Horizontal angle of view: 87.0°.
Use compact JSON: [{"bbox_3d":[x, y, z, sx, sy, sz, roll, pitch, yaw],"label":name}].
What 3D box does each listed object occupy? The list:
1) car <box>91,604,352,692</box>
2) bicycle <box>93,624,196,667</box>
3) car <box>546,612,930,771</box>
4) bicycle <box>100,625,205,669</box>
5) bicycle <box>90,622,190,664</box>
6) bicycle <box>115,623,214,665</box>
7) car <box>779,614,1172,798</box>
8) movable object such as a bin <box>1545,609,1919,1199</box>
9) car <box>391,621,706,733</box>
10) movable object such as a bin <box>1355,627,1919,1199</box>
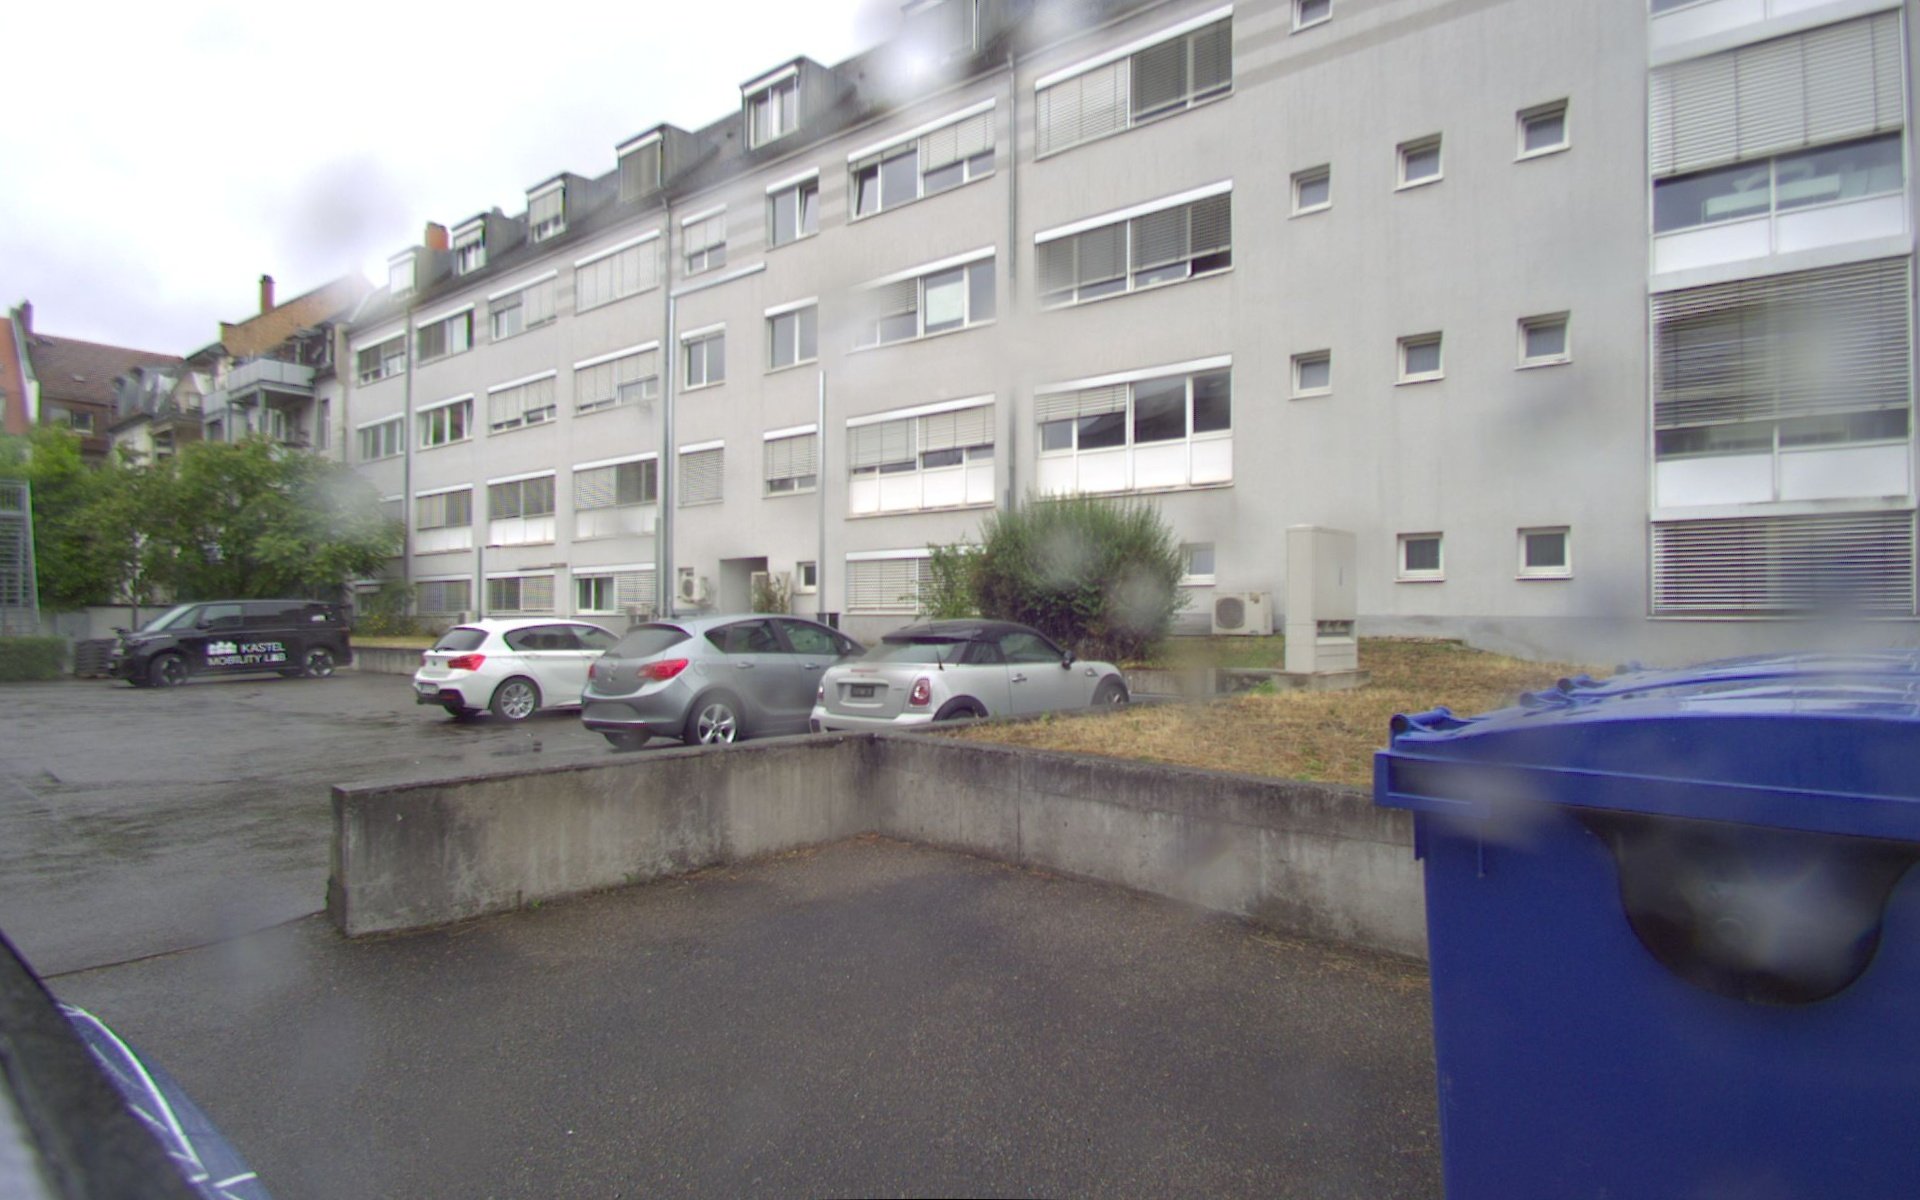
[{"bbox_3d":[-17.074,1.060,23.624,1.984,1.851,4.574,-3,-2,36],"label":"car"},{"bbox_3d":[-24.034,1.318,29.871,0.644,1.195,2.287,2,1,44],"label":"bicycle"},{"bbox_3d":[-2.380,0.920,11.724,1.820,1.495,4.124,-2,-2,39],"label":"car"},{"bbox_3d":[-23.407,1.339,29.372,0.644,1.195,2.287,2,1,44],"label":"bicycle"},{"bbox_3d":[-24.847,1.290,30.712,0.644,1.195,2.287,2,1,44],"label":"bicycle"},{"bbox_3d":[-24.135,1.308,30.729,0.644,1.195,2.287,2,1,44],"label":"bicycle"},{"bbox_3d":[0.349,0.907,10.410,1.821,1.343,4.123,-2,0,40],"label":"car"},{"bbox_3d":[2.412,0.715,2.734,1.117,1.347,1.189,-4,-2,45],"label":"movable object such as a bin"},{"bbox_3d":[-6.057,1.046,15.307,1.751,1.444,4.098,-1,-1,39],"label":"car"},{"bbox_3d":[1.518,0.730,1.778,1.188,1.347,1.118,1,-1,-41],"label":"movable object such as a bin"}]
